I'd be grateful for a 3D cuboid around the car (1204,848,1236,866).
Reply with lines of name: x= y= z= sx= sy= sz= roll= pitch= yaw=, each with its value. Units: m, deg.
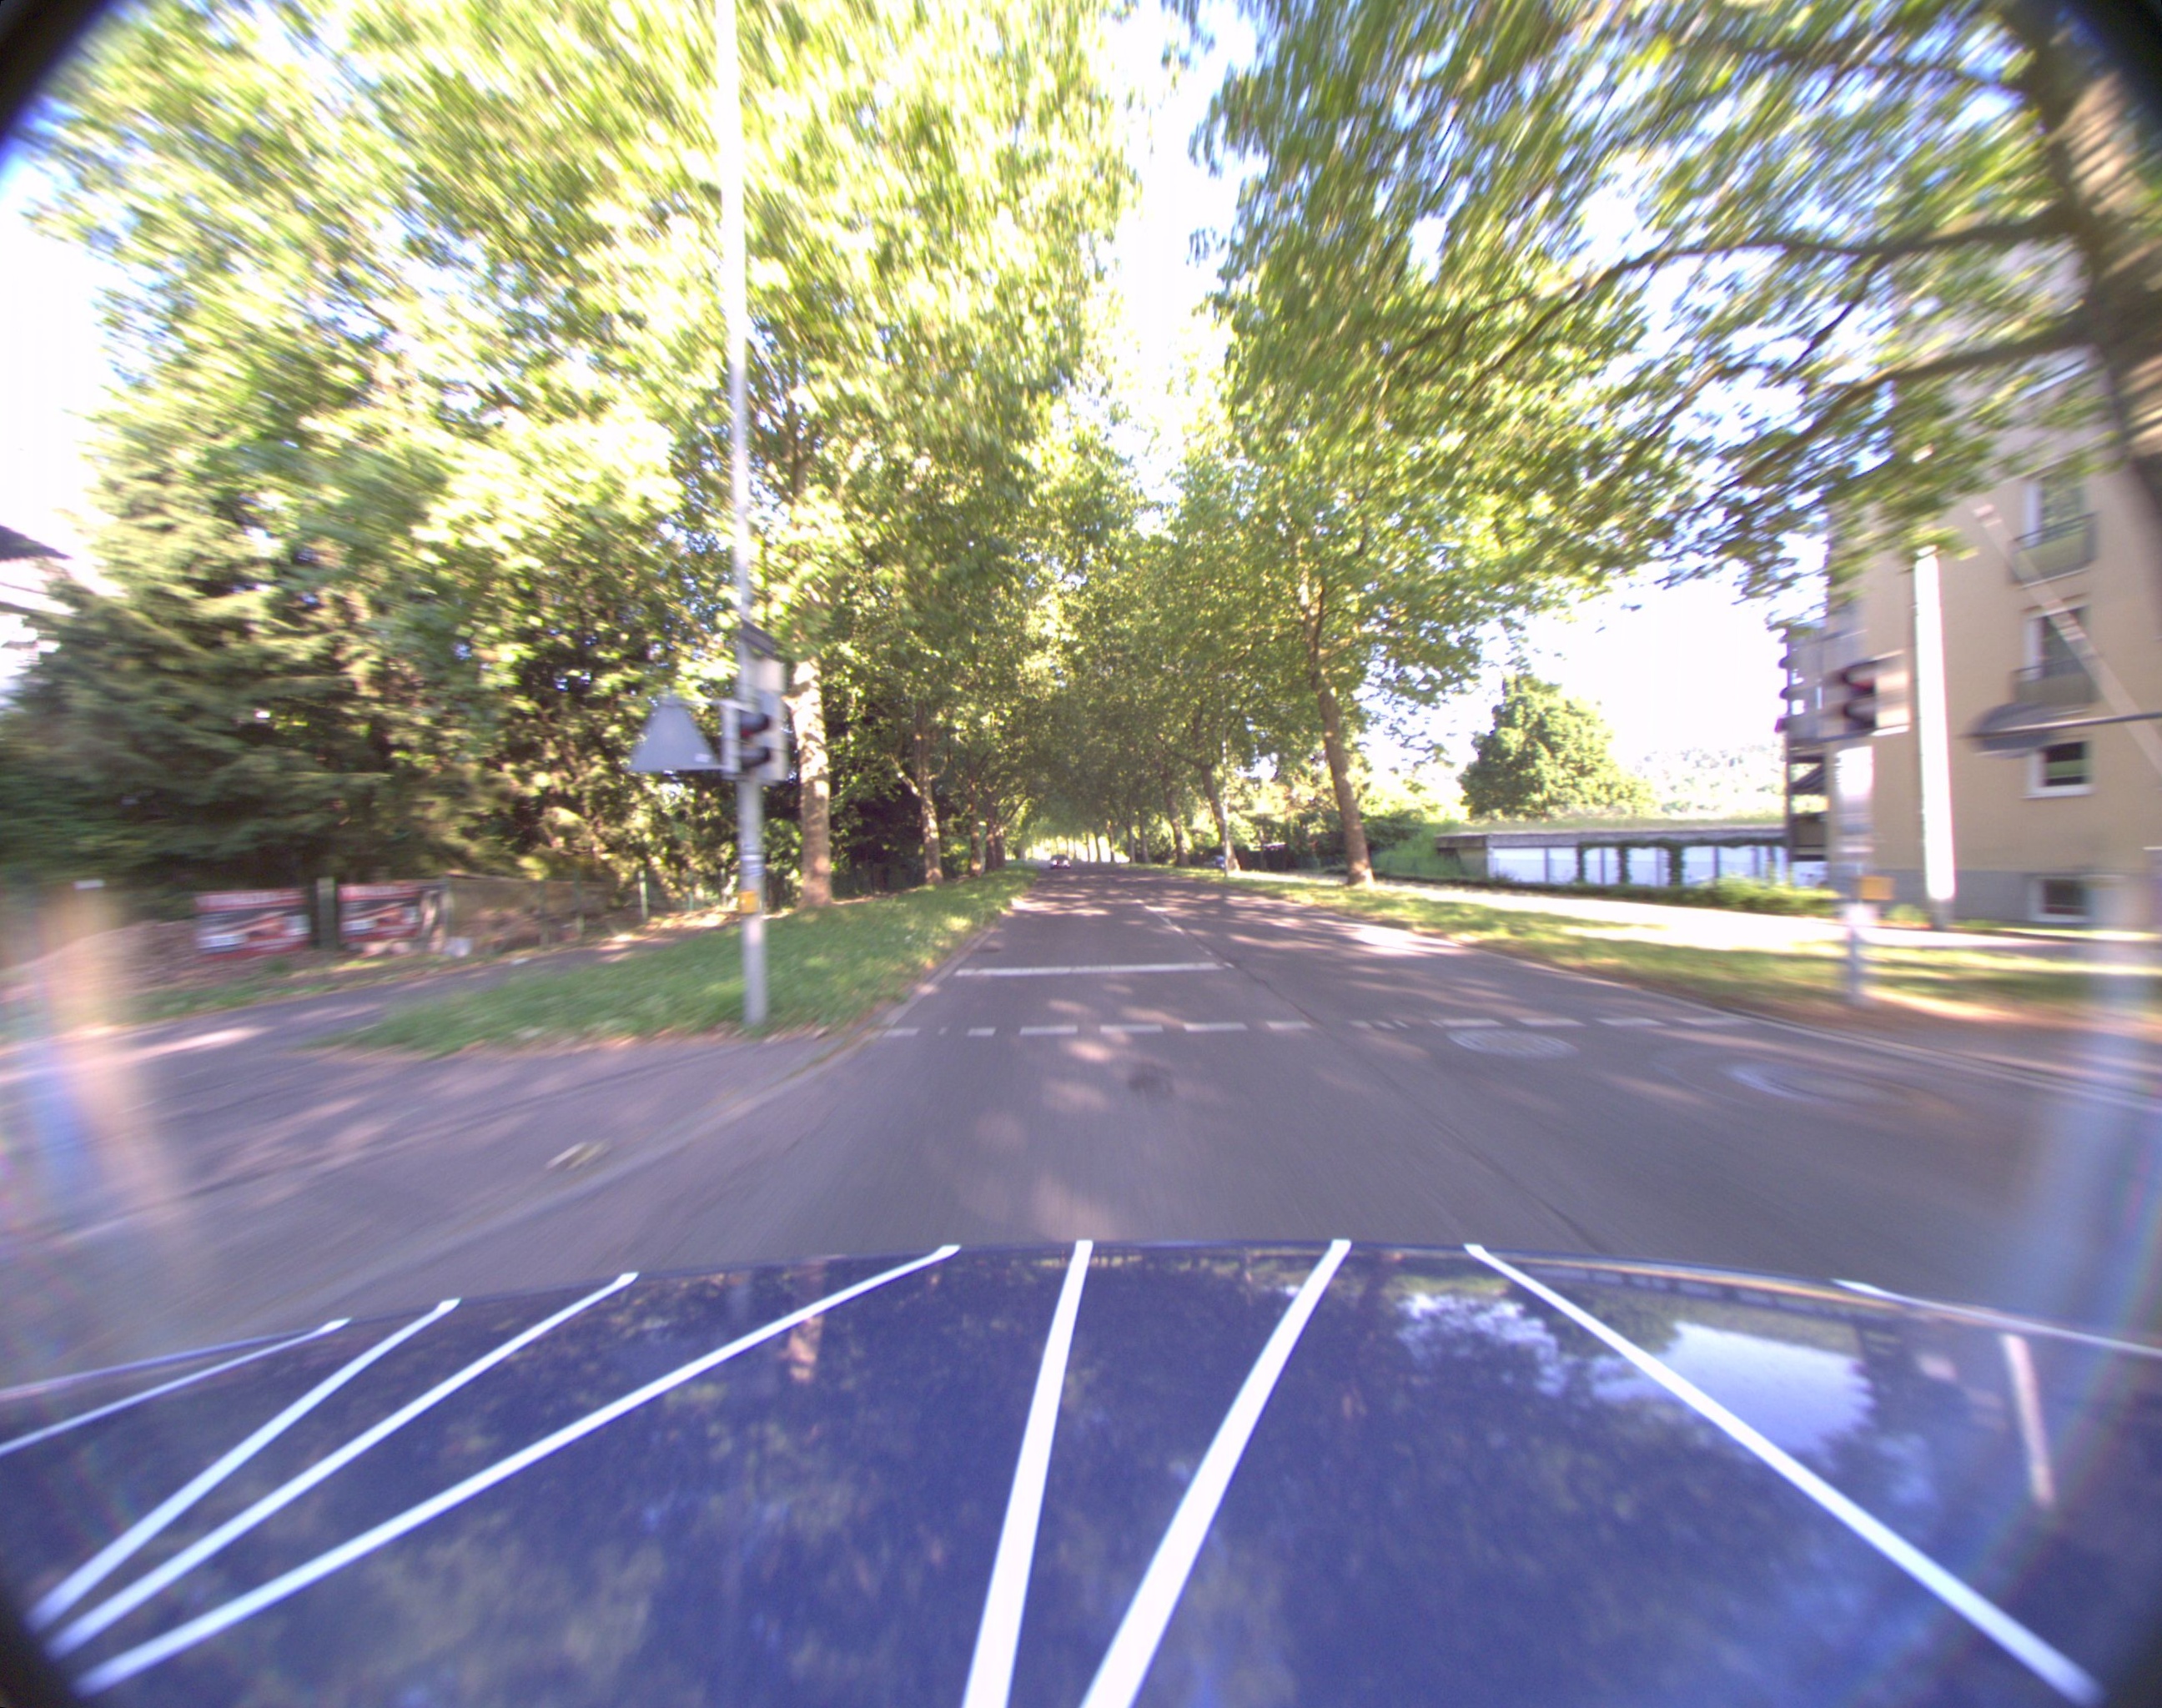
car: x=11.922 y=0.255 z=65.441 sx=1.813 sy=1.521 sz=3.999 roll=-1 pitch=0 yaw=-3
